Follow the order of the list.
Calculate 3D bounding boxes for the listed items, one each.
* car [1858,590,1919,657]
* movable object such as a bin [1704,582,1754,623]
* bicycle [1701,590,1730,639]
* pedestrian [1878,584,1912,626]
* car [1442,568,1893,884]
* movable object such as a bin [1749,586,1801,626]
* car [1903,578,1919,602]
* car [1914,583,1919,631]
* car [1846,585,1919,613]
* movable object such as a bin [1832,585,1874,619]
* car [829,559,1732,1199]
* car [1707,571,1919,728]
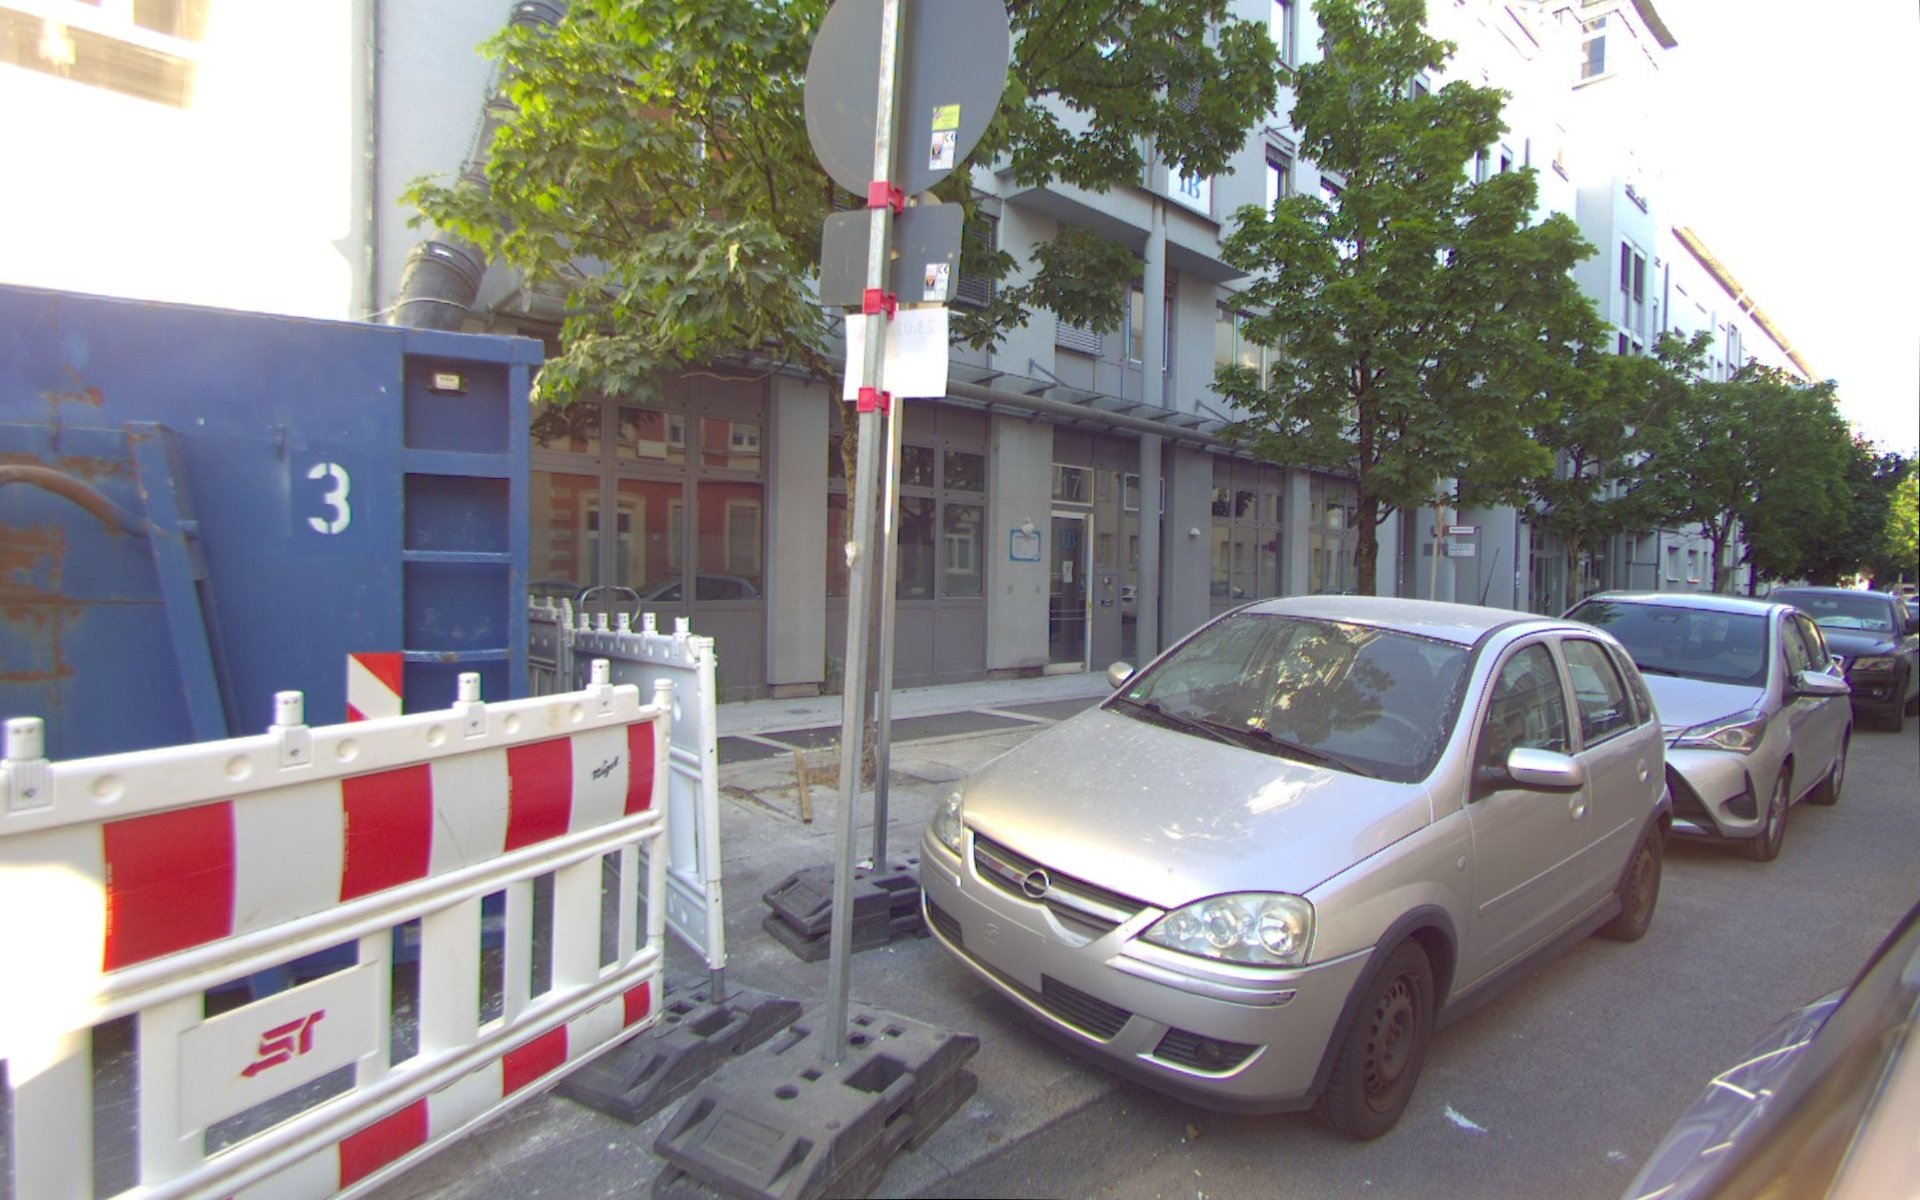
[{"bbox_3d":[23.096,0.534,24.383,4.272,1.446,1.766,-1,3,-43],"label":"car"},{"bbox_3d":[28.364,0.085,37.331,1.120,1.454,1.263,0,3,-43],"label":"movable object such as a bin"},{"bbox_3d":[19.373,0.351,25.976,0.518,1.182,1.718,3,3,36],"label":"bicycle"},{"bbox_3d":[33.819,0.170,36.595,0.856,1.481,0.800,0,3,-45],"label":"pedestrian"},{"bbox_3d":[5.064,0.605,7.035,3.902,1.543,1.679,0,3,-42],"label":"car"},{"bbox_3d":[29.419,0.201,36.537,1.120,1.337,1.263,0,3,-43],"label":"movable object such as a bin"},{"bbox_3d":[96.853,-1.022,101.581,2.147,2.311,6.135,3,3,33],"label":"car"},{"bbox_3d":[35.024,0.264,35.643,4.646,1.655,1.873,-1,4,-45],"label":"car"},{"bbox_3d":[60.048,-0.093,65.392,1.968,1.584,3.991,0,4,-45],"label":"car"},{"bbox_3d":[40.304,0.068,45.671,1.203,1.454,1.286,0,3,-43],"label":"movable object such as a bin"},{"bbox_3d":[1.499,0.646,3.997,3.664,1.493,1.680,0,3,-41],"label":"car"},{"bbox_3d":[11.391,0.505,13.172,4.360,1.642,1.888,-1,3,-43],"label":"car"}]
